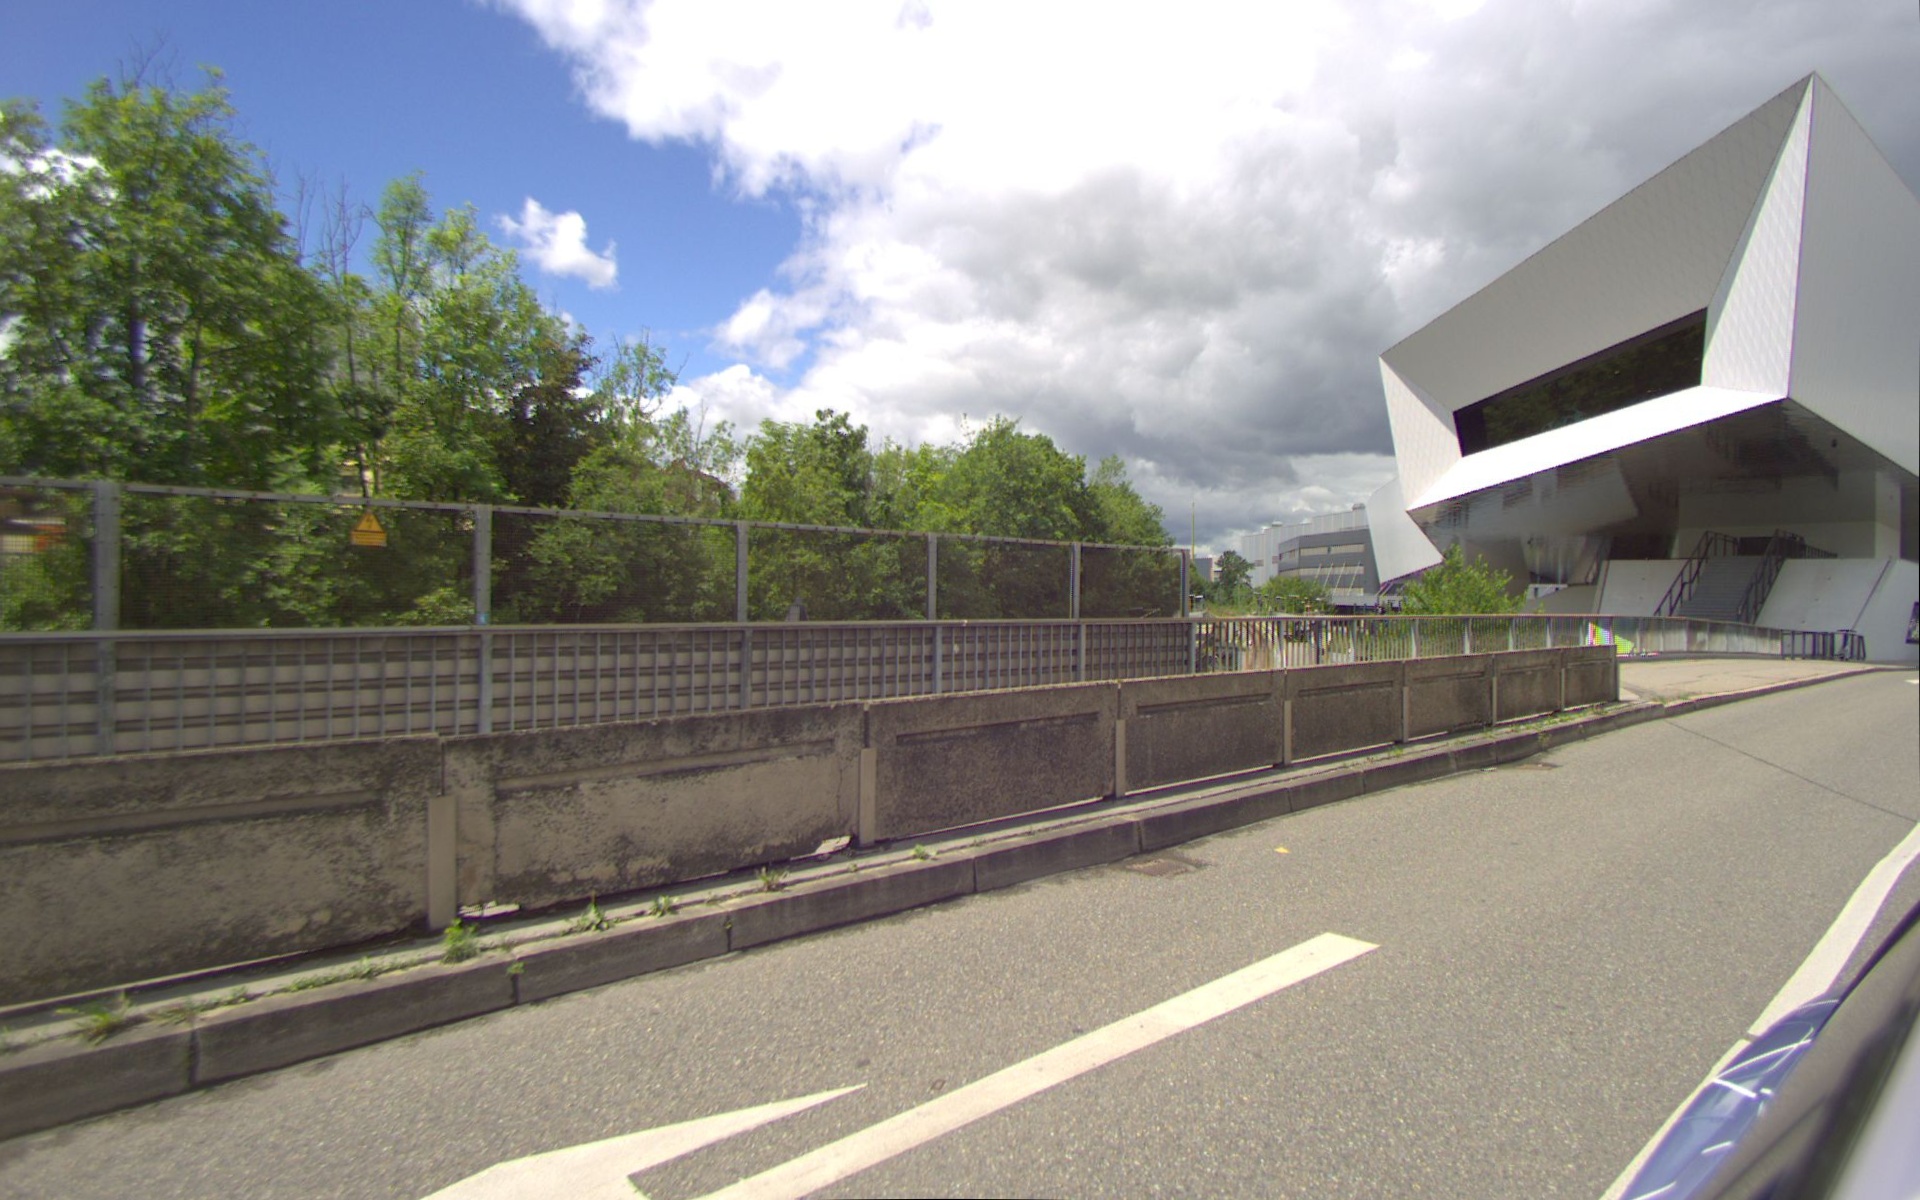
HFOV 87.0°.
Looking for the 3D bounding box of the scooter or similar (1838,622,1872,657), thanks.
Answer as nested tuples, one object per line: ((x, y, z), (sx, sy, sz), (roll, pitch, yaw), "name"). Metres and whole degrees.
((32.741, 1.440, 37.013), (1.824, 1.229, 0.654), (2, 0, -41), "scooter or similar")
